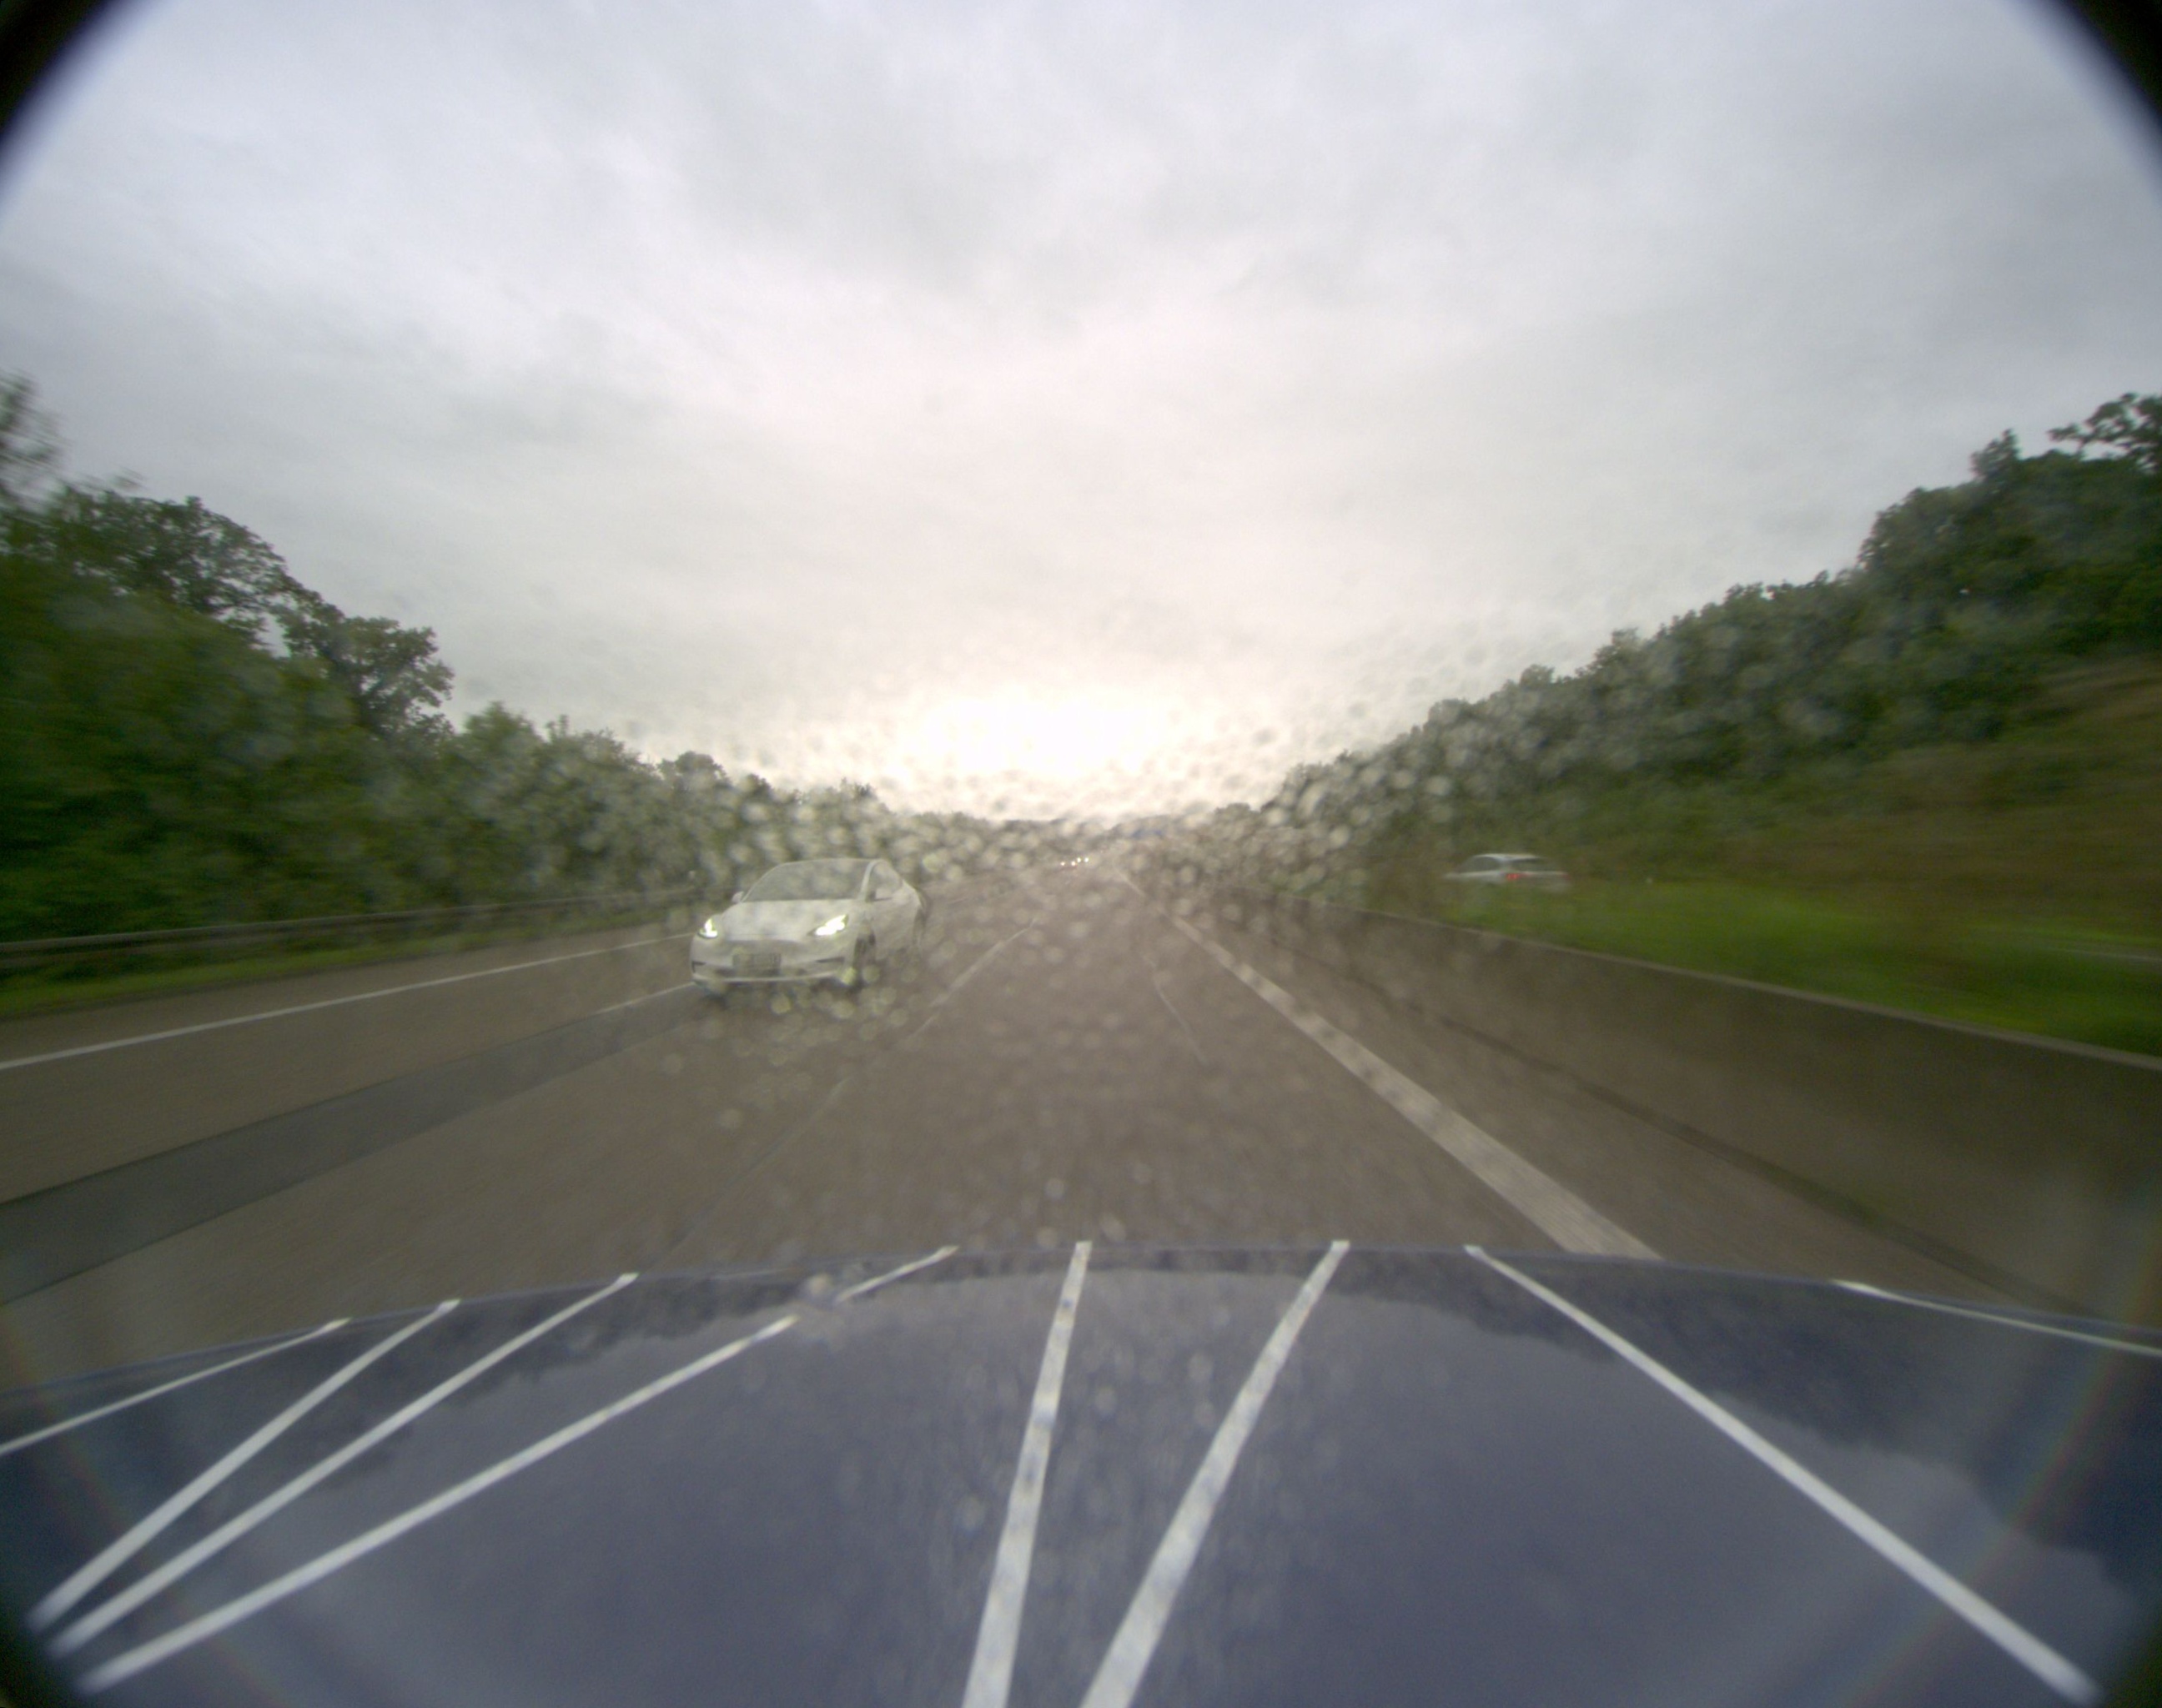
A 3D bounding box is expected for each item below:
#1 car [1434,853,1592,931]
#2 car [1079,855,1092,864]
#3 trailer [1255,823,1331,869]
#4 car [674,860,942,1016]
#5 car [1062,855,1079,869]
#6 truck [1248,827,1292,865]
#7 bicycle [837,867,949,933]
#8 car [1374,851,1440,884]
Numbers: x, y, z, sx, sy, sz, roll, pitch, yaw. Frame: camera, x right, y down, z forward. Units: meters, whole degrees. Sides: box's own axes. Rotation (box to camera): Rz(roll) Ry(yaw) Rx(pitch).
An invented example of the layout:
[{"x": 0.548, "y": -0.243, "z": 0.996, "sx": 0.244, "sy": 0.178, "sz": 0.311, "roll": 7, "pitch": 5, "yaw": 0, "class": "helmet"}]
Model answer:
[{"x": 12.302, "y": 0.978, "z": 22.073, "sx": 1.998, "sy": 2.002, "sz": 4.655, "roll": 0, "pitch": 0, "yaw": 1, "class": "car"}, {"x": 0.860, "y": 1.005, "z": 141.790, "sx": 2.008, "sy": 1.456, "sz": 4.001, "roll": 0, "pitch": 2, "yaw": 7, "class": "car"}, {"x": 17.504, "y": -0.666, "z": 63.960, "sx": 2.995, "sy": 3.465, "sz": 13.256, "roll": 0, "pitch": 0, "yaw": 1, "class": "trailer"}, {"x": -3.434, "y": 0.944, "z": 10.766, "sx": 1.865, "sy": 1.559, "sz": 4.963, "roll": -2, "pitch": 1, "yaw": 1, "class": "car"}, {"x": -1.197, "y": 0.925, "z": 89.834, "sx": 1.933, "sy": 1.521, "sz": 4.297, "roll": 0, "pitch": 0, "yaw": -1, "class": "car"}, {"x": 17.645, "y": -0.718, "z": 71.164, "sx": 2.999, "sy": 3.447, "sz": 4.770, "roll": 0, "pitch": 1, "yaw": 1, "class": "truck"}, {"x": -3.368, "y": 0.812, "z": 13.770, "sx": 1.757, "sy": 1.084, "sz": 0.913, "roll": -1, "pitch": 2, "yaw": 1, "class": "bicycle"}, {"x": 17.087, "y": 0.663, "z": 40.044, "sx": 1.780, "sy": 1.593, "sz": 4.000, "roll": 0, "pitch": 0, "yaw": 1, "class": "car"}]
